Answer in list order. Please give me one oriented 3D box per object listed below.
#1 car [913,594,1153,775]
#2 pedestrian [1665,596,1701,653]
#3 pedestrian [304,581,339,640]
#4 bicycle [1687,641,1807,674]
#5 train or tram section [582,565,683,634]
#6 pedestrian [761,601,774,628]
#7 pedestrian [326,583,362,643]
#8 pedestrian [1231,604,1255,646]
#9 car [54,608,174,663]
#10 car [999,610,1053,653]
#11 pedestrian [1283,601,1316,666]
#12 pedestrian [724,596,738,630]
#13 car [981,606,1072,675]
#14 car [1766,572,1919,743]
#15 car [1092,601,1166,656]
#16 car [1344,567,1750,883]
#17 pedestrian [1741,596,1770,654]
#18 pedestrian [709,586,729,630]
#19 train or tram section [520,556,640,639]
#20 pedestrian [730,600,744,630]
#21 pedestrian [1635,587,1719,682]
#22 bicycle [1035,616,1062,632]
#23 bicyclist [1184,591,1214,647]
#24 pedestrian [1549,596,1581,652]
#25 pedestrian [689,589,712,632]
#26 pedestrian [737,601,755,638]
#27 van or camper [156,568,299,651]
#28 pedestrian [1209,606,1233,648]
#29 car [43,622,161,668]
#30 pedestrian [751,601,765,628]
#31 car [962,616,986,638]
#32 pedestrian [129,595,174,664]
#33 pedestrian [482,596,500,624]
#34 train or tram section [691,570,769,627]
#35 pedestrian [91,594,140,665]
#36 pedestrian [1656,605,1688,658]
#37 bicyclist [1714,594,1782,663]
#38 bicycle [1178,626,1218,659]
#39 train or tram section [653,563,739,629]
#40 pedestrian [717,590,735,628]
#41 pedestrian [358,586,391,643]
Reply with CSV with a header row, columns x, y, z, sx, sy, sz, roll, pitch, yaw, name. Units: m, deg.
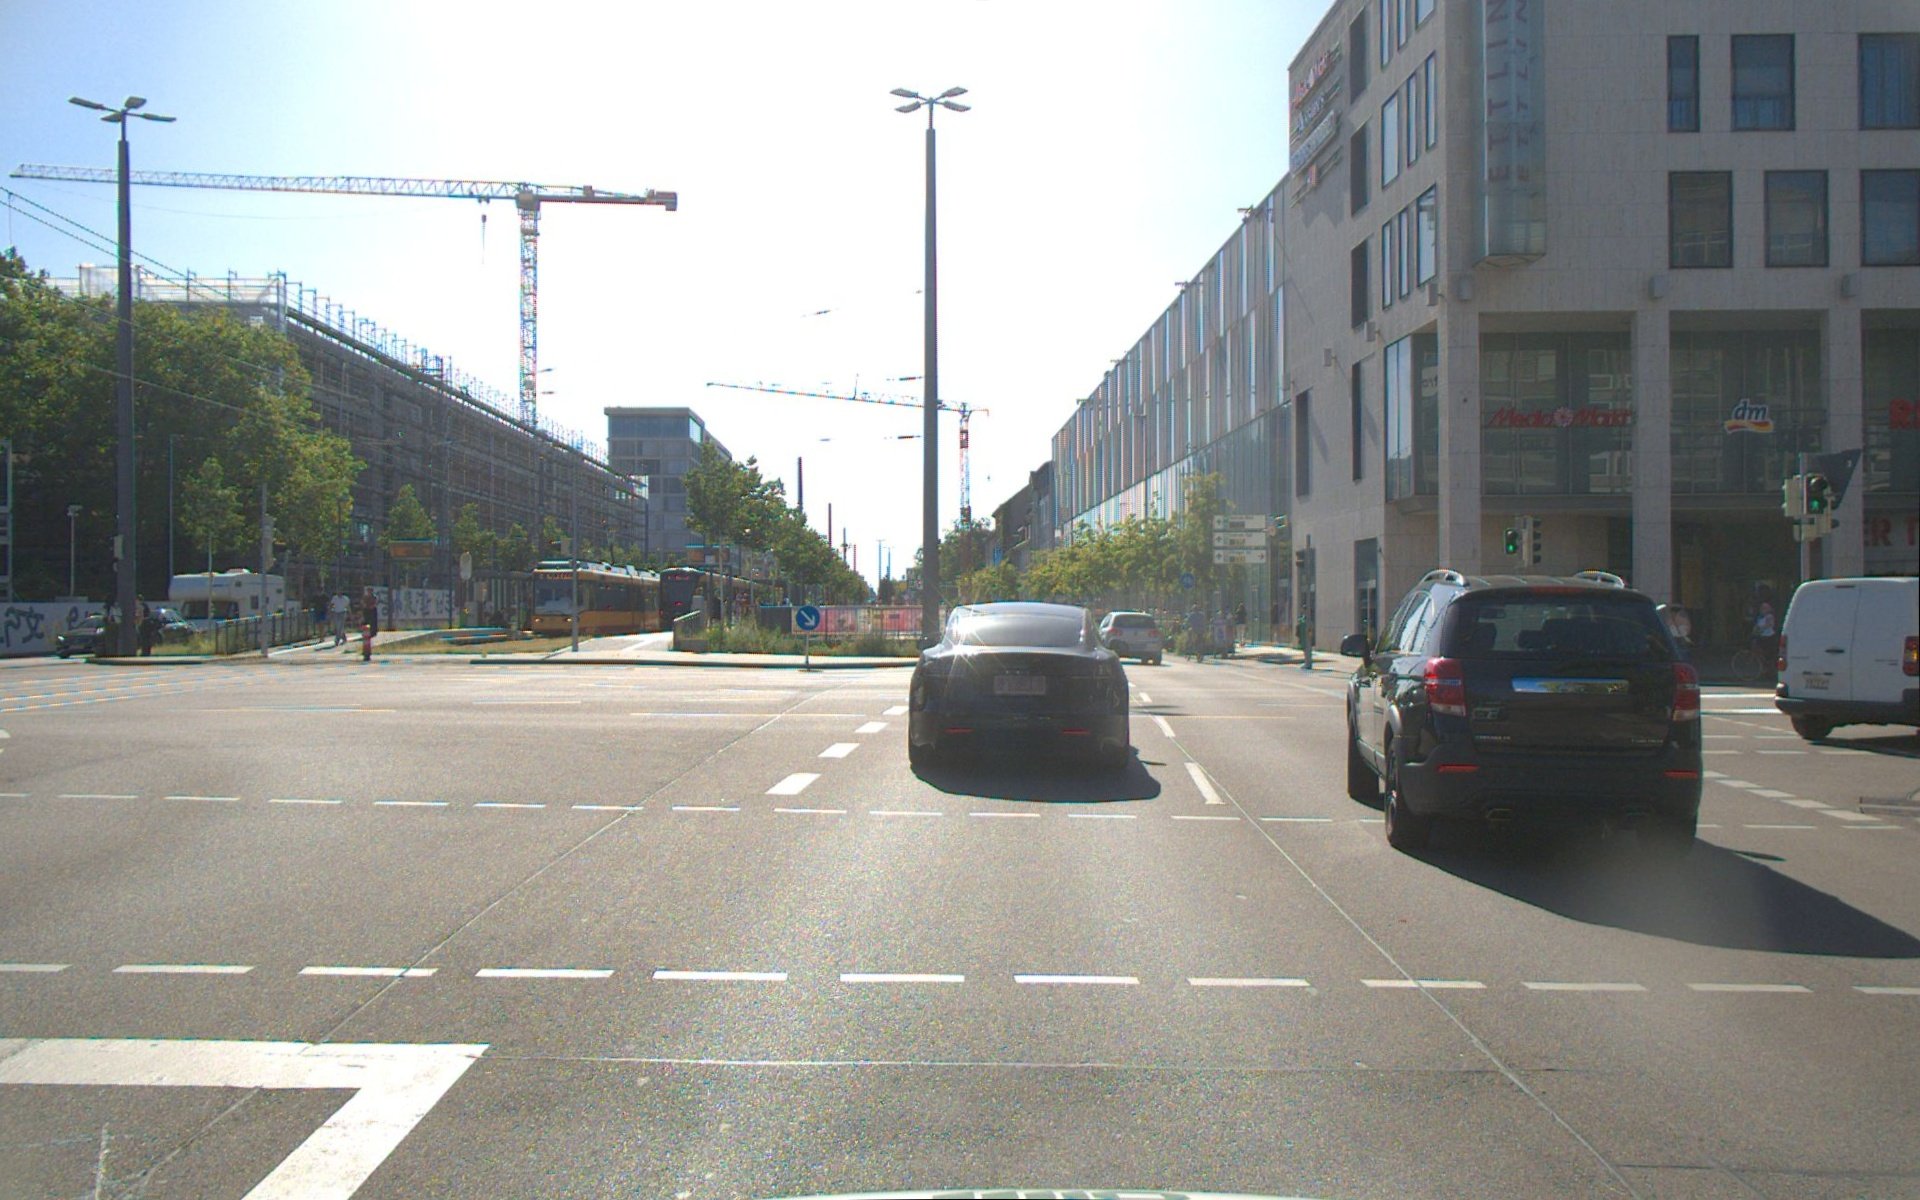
x,y,z,sx,sy,sz,roll,pitch,yaw,name
0.579,0.706,15.785,1.958,1.459,4.411,1,0,-1,car
21.188,0.720,48.483,0.708,1.636,0.750,-1,0,-1,pedestrian
-20.437,0.325,52.961,0.784,1.855,0.975,0,0,-4,pedestrian
17.434,1.270,36.685,2.147,0.683,1.072,0,0,2,bicycle
-17.576,0.064,90.018,2.790,3.380,15.958,1,-1,-2,train or tram section
-11.926,0.890,102.492,0.726,1.657,0.861,0,-1,-1,pedestrian
-19.101,0.404,51.282,0.784,1.855,0.975,0,0,-4,pedestrian
11.589,1.025,67.778,0.693,1.687,0.899,-2,-1,-6,pedestrian
-28.039,1.152,54.964,1.907,1.737,4.364,0,0,-3,car
2.281,1.078,57.947,1.681,1.457,3.999,0,0,-1,car
9.255,0.902,45.134,0.644,1.732,0.697,-3,0,-4,pedestrian
-12.581,0.708,90.935,0.658,1.842,1.074,0,-1,-3,pedestrian
1.350,0.812,34.889,1.681,1.343,3.999,0,0,-1,car
11.335,0.603,18.919,4.102,1.764,1.774,0,0,-28,car
4.972,0.810,49.028,1.748,1.573,4.038,0,0,-1,car
3.756,0.688,11.376,1.746,1.729,4.416,0,0,7,car
25.154,0.785,52.291,0.551,1.793,0.641,-1,0,-38,pedestrian
-9.967,0.321,68.434,0.689,1.806,0.958,1,0,-5,pedestrian
-17.100,-0.055,75.479,2.813,3.367,13.067,2,0,-2,train or tram section
-11.638,0.762,86.396,0.634,1.539,0.588,1,0,-5,pedestrian
14.509,0.687,33.504,0.947,1.833,1.522,-2,0,-2,pedestrian
6.578,1.802,123.281,1.848,1.171,0.669,-2,-1,-12,bicycle
7.659,0.618,53.061,0.711,1.767,0.996,0,-1,-5,bicyclist
18.059,0.717,49.364,0.732,1.636,0.556,-1,0,-3,pedestrian
-11.202,0.458,71.406,0.857,1.806,1.188,1,0,-5,pedestrian
-9.682,0.866,74.848,0.726,1.657,0.861,0,-1,-1,pedestrian
-27.877,0.350,63.284,2.553,2.989,7.337,0,0,-3,van or camper
10.740,1.106,68.063,0.805,1.687,0.899,0,-1,-6,pedestrian
-31.857,1.653,61.592,1.953,1.588,4.829,0,0,-1,car
-12.319,0.896,100.992,0.726,1.657,0.861,0,-1,-1,pedestrian
1.087,2.025,127.047,1.849,1.624,4.000,0,0,1,car
-22.183,0.800,45.390,0.784,1.855,0.975,0,0,-4,pedestrian
-21.056,0.443,74.240,0.658,1.248,0.505,1,-1,-5,pedestrian
-15.222,-0.028,111.363,2.813,3.337,22.133,2,0,-2,train or tram section
-22.378,0.768,43.826,0.785,1.855,0.880,0,0,30,pedestrian
22.544,0.991,52.361,0.551,1.636,0.740,-1,0,-38,pedestrian
17.481,0.625,36.703,1.000,1.502,1.072,0,-1,2,bicyclist
7.641,1.355,53.129,0.714,1.001,2.330,3,-1,-5,bicycle
-14.592,-0.161,92.724,2.813,3.337,15.178,2,0,-2,train or tram section
-11.578,0.439,81.717,0.775,1.806,0.978,1,0,-5,pedestrian
-19.465,0.484,54.975,0.784,1.855,0.975,0,0,-4,pedestrian
